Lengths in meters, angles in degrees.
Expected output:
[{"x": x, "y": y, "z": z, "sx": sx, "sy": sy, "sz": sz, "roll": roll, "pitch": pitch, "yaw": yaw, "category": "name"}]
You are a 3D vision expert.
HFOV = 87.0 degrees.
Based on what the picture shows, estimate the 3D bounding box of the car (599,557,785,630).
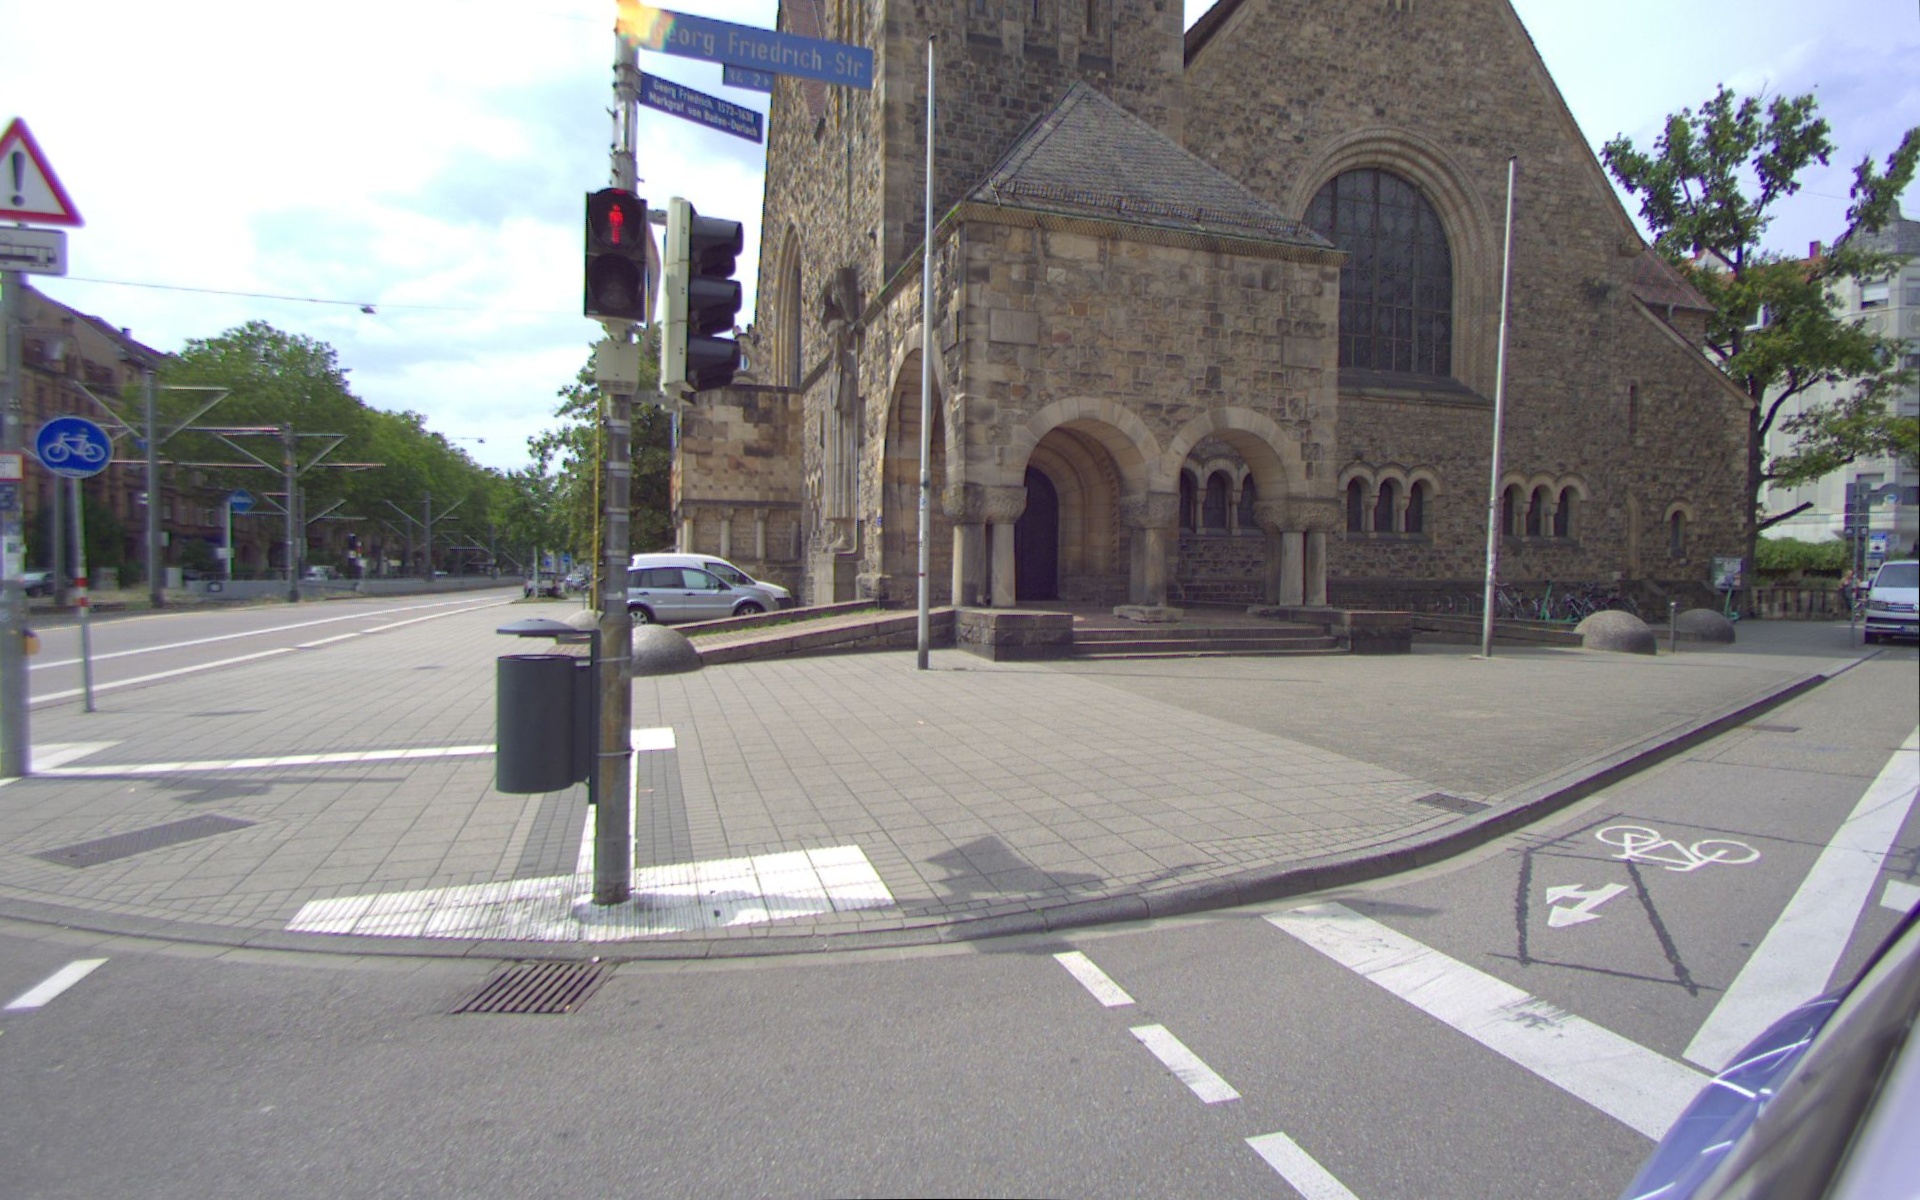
[{"x": -6.126, "y": -0.170, "z": 23.159, "sx": 3.942, "sy": 1.562, "sz": 2.024, "roll": 0, "pitch": 2, "yaw": -17, "category": "car"}]

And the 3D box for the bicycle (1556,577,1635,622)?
[{"x": 16.929, "y": -0.024, "z": 27.007, "sx": 0.534, "sy": 1.125, "sz": 1.786, "roll": 0, "pitch": 2, "yaw": -23, "category": "bicycle"}]

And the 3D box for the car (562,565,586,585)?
[{"x": -31.899, "y": -2.088, "z": 83.693, "sx": 1.488, "sy": 1.426, "sz": 3.733, "roll": 0, "pitch": 4, "yaw": -15, "category": "car"}]

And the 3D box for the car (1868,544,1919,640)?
[{"x": 22.710, "y": -0.184, "z": 23.486, "sx": 5.038, "sy": 2.054, "sz": 2.017, "roll": -1, "pitch": 3, "yaw": -44, "category": "car"}]

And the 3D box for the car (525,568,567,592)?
[{"x": -25.566, "y": -1.265, "z": 62.599, "sx": 1.911, "sy": 1.417, "sz": 4.009, "roll": -1, "pitch": 2, "yaw": -16, "category": "car"}]

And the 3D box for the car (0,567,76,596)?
[{"x": -48.805, "y": -0.999, "z": 53.287, "sx": 1.722, "sy": 1.417, "sz": 4.009, "roll": -1, "pitch": 2, "yaw": -14, "category": "car"}]

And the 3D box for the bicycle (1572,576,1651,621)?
[{"x": 17.494, "y": -0.060, "z": 27.223, "sx": 0.534, "sy": 1.125, "sz": 1.779, "roll": 0, "pitch": 2, "yaw": -23, "category": "bicycle"}]

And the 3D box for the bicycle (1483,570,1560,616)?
[{"x": 14.583, "y": -0.197, "z": 26.343, "sx": 0.534, "sy": 1.125, "sz": 1.786, "roll": 0, "pitch": 2, "yaw": -23, "category": "bicycle"}]

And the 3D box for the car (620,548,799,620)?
[{"x": -6.480, "y": -0.414, "z": 26.175, "sx": 4.328, "sy": 1.747, "sz": 1.956, "roll": 0, "pitch": 1, "yaw": -17, "category": "car"}]

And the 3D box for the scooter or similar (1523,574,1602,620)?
[{"x": 15.820, "y": -0.104, "z": 26.623, "sx": 0.534, "sy": 1.154, "sz": 1.786, "roll": 0, "pitch": 2, "yaw": -23, "category": "scooter or similar"}]

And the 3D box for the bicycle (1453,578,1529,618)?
[{"x": 13.675, "y": -0.056, "z": 26.105, "sx": 0.534, "sy": 0.969, "sz": 1.786, "roll": 0, "pitch": 2, "yaw": -23, "category": "bicycle"}]

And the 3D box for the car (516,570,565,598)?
[{"x": -22.321, "y": -0.896, "z": 53.968, "sx": 1.911, "sy": 1.417, "sz": 4.009, "roll": -1, "pitch": 2, "yaw": -16, "category": "car"}]

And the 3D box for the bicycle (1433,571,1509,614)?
[{"x": 13.050, "y": -0.207, "z": 25.890, "sx": 0.534, "sy": 0.968, "sz": 1.787, "roll": 0, "pitch": 4, "yaw": -23, "category": "bicycle"}]

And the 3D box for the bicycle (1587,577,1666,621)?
[{"x": 18.073, "y": -0.033, "z": 27.487, "sx": 0.534, "sy": 1.125, "sz": 1.786, "roll": 0, "pitch": 2, "yaw": -23, "category": "bicycle"}]

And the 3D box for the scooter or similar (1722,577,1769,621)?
[{"x": 22.715, "y": -0.039, "z": 29.258, "sx": 1.413, "sy": 1.222, "sz": 0.547, "roll": 0, "pitch": 2, "yaw": -29, "category": "scooter or similar"}]
